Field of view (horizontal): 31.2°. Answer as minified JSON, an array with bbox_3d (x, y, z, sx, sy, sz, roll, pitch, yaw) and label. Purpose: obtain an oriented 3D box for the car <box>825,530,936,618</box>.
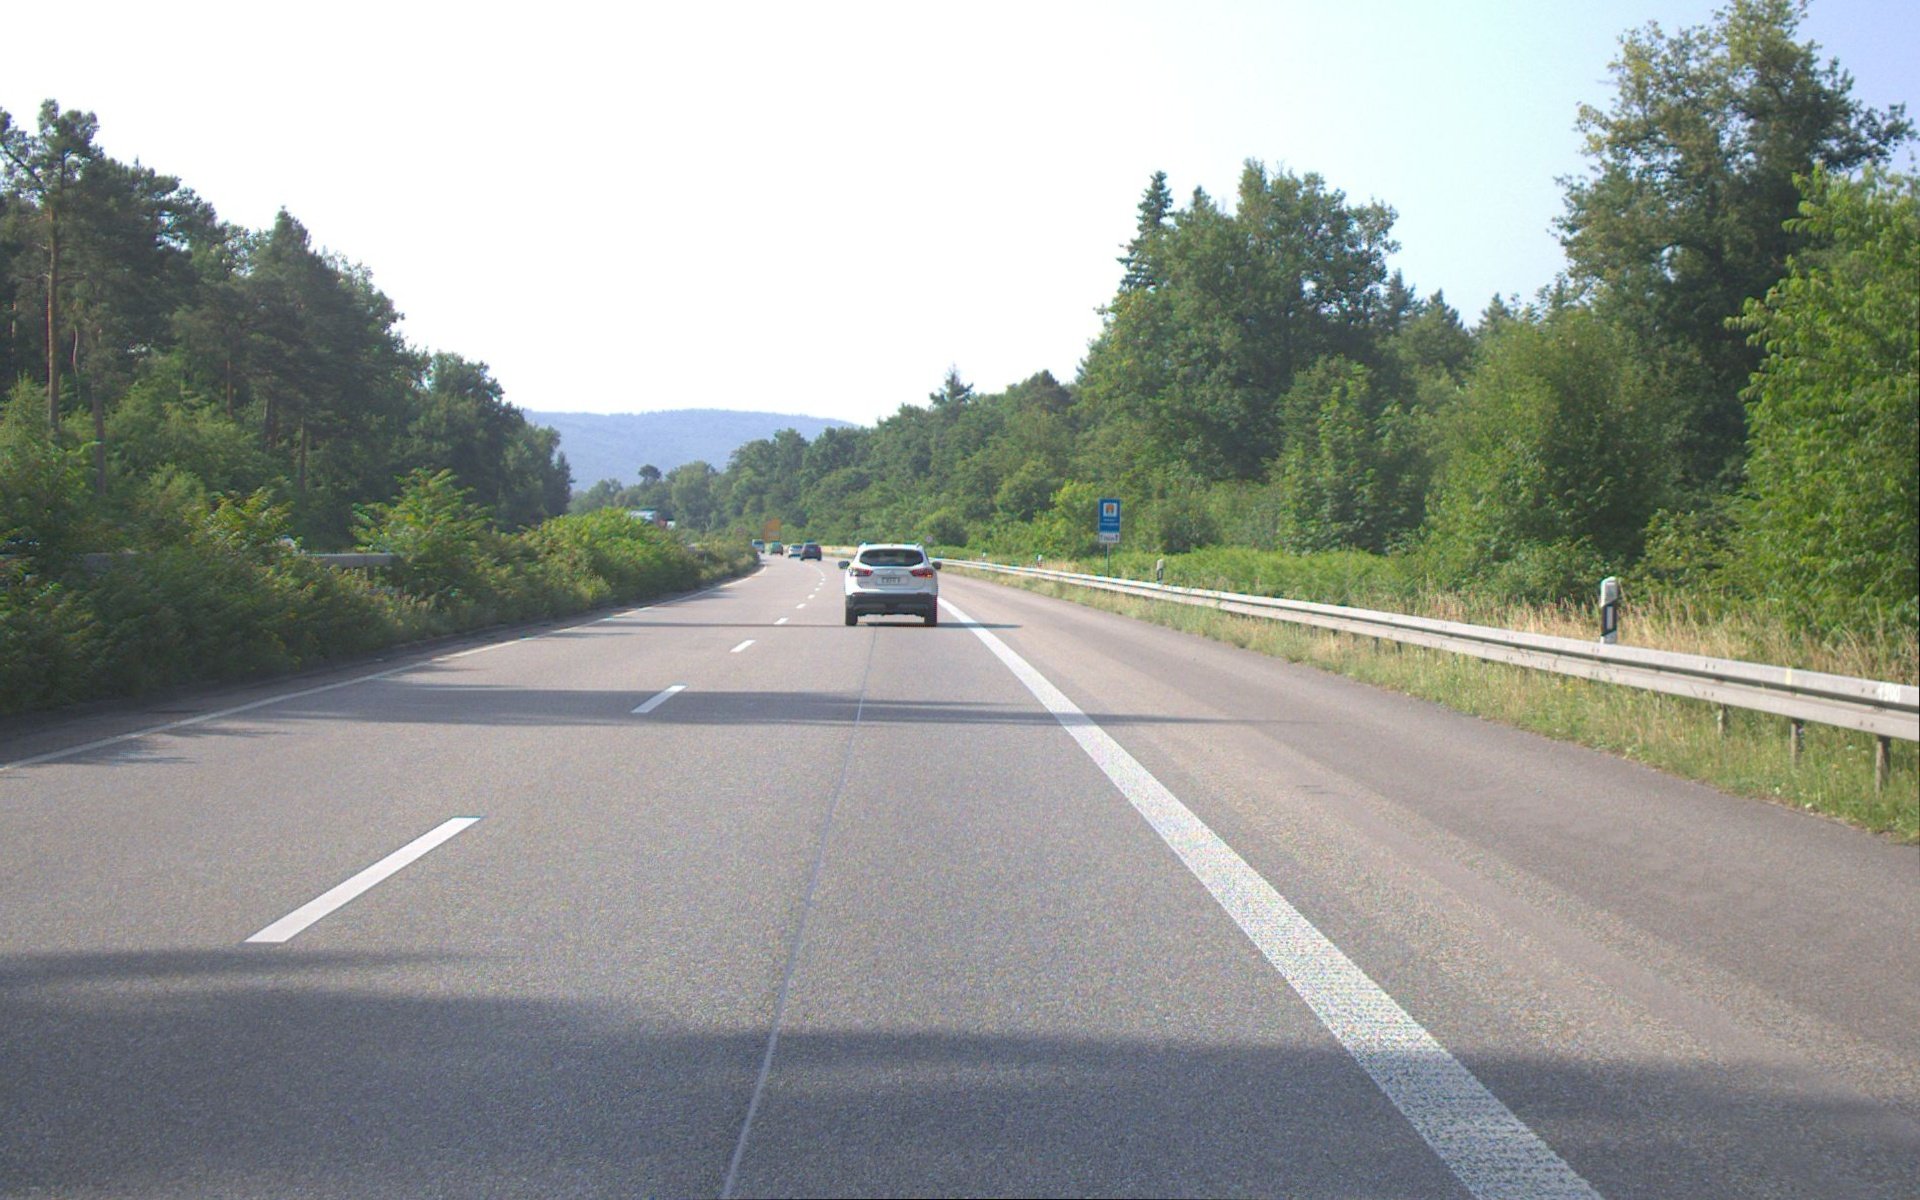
[{"bbox_3d":[-1.586,-0.537,67.250,1.873,1.581,4.001,2,1,-5],"label":"car"}]
